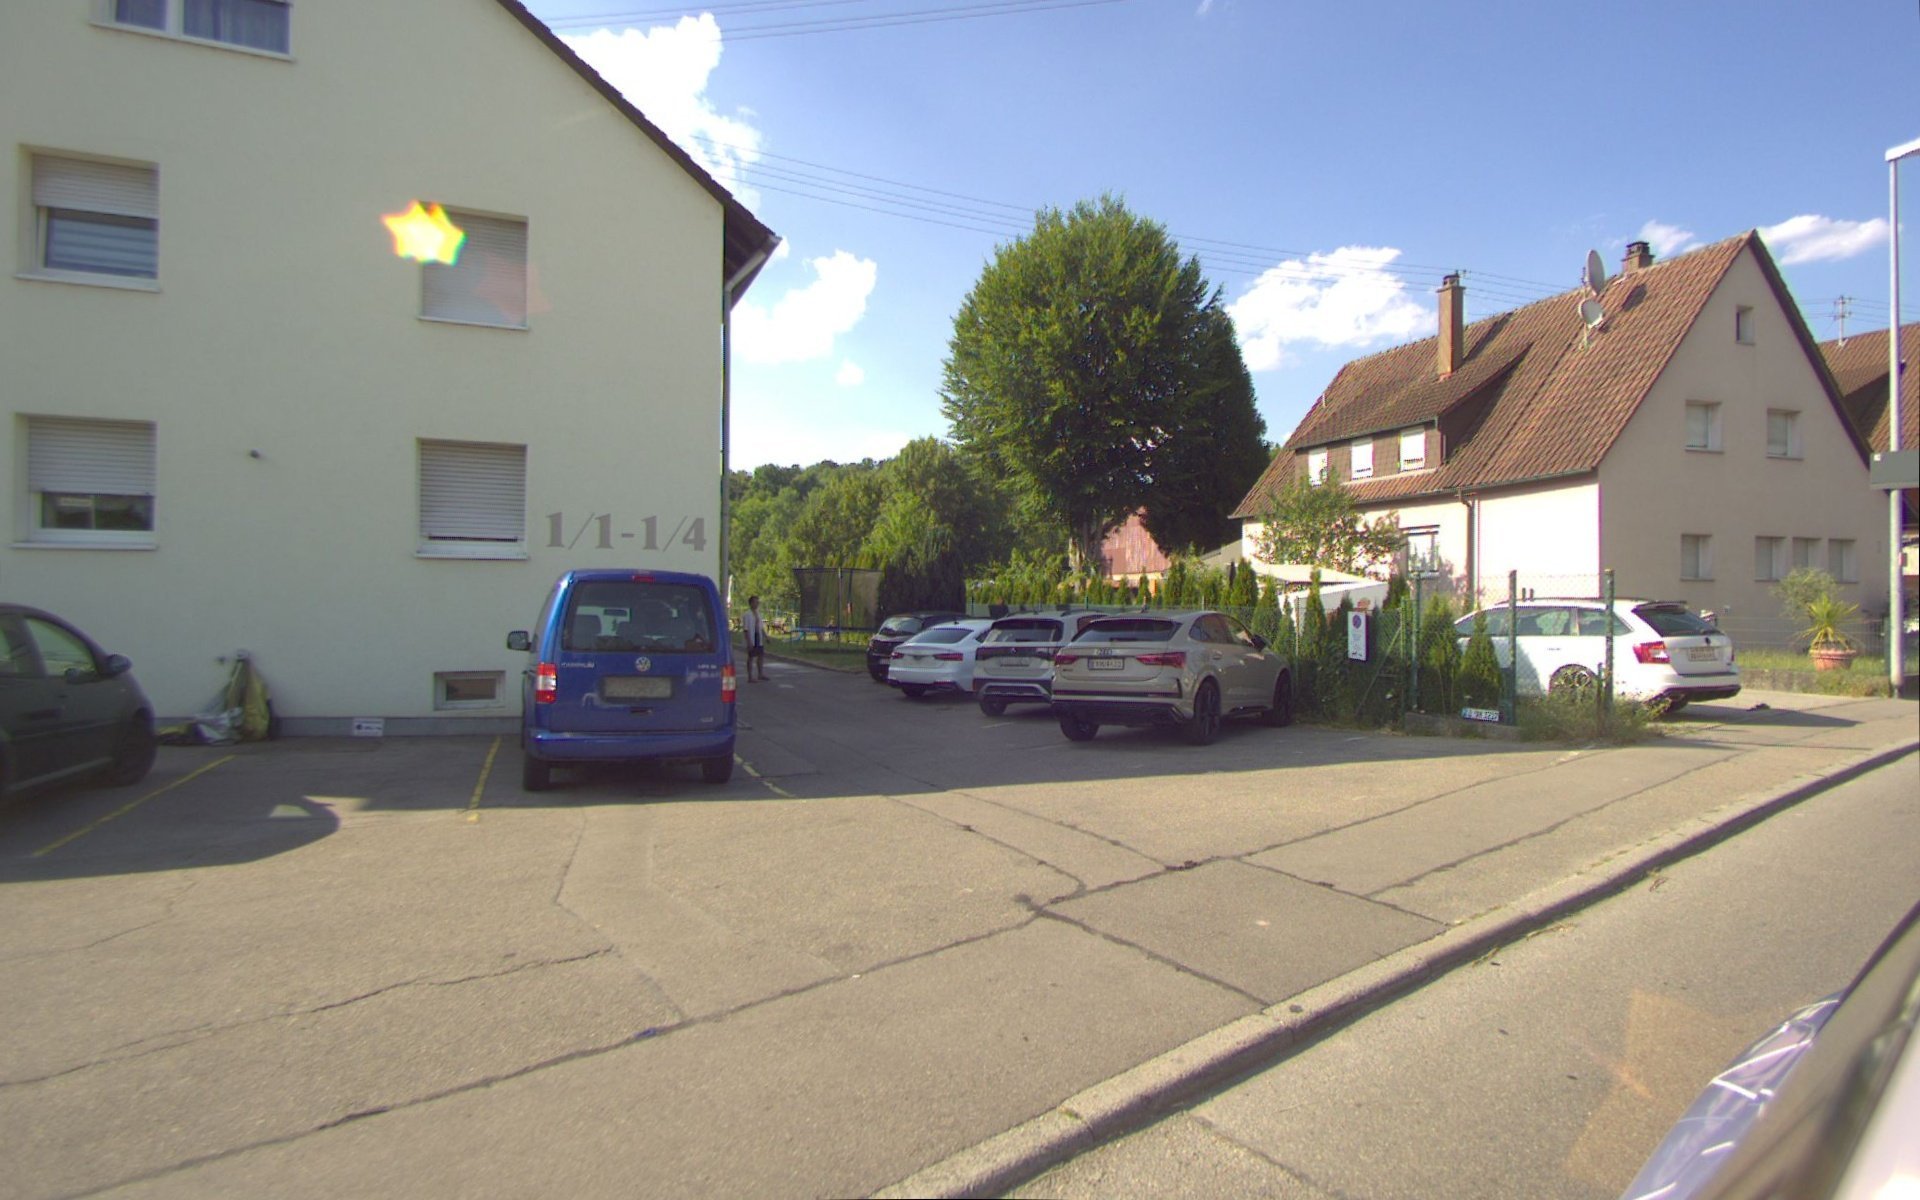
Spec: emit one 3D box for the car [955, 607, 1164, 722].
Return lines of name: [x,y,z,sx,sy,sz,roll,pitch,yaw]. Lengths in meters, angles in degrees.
car: [1.669,0.922,16.003,1.753,1.564,3.631,-2,-1,35]

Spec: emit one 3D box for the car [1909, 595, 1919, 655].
car: [24.441,0.621,23.208,1.406,1.453,3.707,1,-1,-15]

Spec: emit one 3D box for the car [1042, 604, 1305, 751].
car: [2.859,0.851,12.807,1.688,1.539,4.222,-3,-2,35]

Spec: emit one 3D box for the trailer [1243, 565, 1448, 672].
trailer: [6.841,0.337,18.027,3.149,1.774,1.528,1,-1,-19]

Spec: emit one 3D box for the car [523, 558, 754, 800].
car: [-3.298,0.587,9.850,1.730,1.810,4.222,0,0,-23]

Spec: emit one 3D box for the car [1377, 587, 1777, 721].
car: [7.944,0.593,13.610,1.694,1.476,4.487,0,0,-21]

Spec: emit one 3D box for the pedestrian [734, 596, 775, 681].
pedestrian: [-4.260,0.778,20.987,0.434,1.726,0.666,1,0,39]

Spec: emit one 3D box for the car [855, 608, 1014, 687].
car: [-0.477,0.961,22.129,1.669,1.520,3.631,2,1,34]

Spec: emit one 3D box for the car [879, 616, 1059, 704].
car: [0.260,1.042,19.006,1.669,1.426,3.631,0,0,34]

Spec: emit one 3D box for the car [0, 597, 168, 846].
car: [-6.843,0.717,6.696,1.615,1.469,3.225,2,-1,-21]
